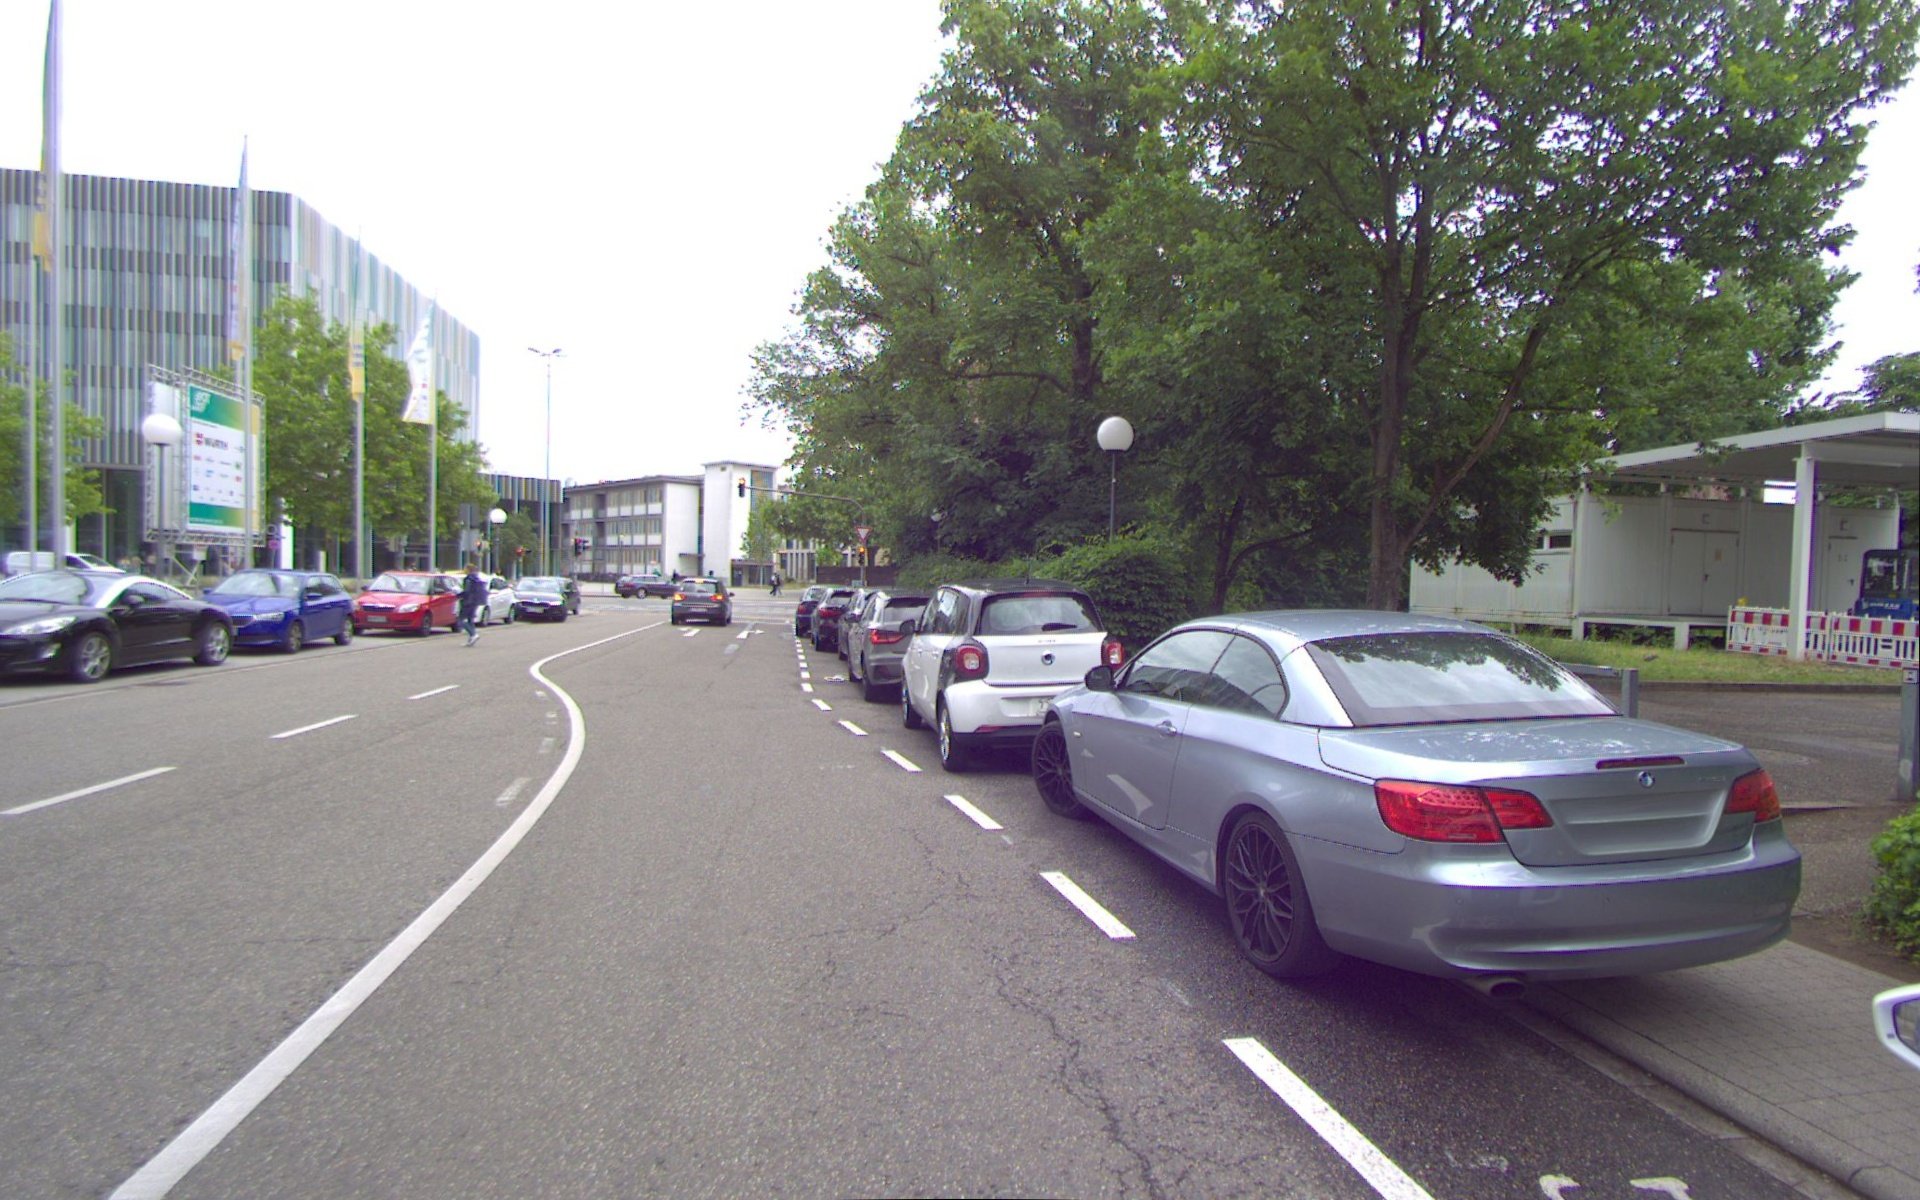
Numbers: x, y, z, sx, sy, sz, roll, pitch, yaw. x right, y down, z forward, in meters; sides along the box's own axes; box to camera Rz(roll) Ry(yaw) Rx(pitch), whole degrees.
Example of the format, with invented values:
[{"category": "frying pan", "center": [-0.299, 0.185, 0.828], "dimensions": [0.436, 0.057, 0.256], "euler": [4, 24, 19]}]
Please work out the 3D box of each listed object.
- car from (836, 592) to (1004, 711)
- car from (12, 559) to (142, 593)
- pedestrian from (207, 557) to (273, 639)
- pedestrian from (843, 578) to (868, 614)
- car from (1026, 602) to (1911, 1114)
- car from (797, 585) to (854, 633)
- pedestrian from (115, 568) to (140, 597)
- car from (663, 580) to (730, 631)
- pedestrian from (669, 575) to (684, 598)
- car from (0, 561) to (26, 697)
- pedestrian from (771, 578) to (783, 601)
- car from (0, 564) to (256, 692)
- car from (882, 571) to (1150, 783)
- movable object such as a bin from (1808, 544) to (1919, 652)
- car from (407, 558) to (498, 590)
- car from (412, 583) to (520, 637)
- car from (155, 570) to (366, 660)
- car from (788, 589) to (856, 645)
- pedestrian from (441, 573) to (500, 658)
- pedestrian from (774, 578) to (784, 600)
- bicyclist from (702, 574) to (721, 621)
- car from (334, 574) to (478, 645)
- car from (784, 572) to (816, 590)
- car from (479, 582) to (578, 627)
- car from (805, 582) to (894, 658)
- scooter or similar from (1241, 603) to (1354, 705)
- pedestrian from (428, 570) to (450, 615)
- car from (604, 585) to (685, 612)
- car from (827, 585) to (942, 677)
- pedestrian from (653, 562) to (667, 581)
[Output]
[{"category": "car", "center": [-0.712, 0.614, 14.194], "dimensions": [1.738, 1.430, 3.999], "euler": [1, 0, -11]}, {"category": "car", "center": [-46.711, -1.262, 53.232], "dimensions": [4.756, 1.685, 1.995], "euler": [1, 1, -12]}, {"category": "pedestrian", "center": [-14.941, -0.044, 20.873], "dimensions": [0.723, 1.663, 0.931], "euler": [0, 1, -5]}, {"category": "pedestrian", "center": [-4.850, -0.179, 46.553], "dimensions": [1.028, 1.641, 0.655], "euler": [0, 1, -20]}, {"category": "car", "center": [1.781, 0.759, 5.133], "dimensions": [1.792, 1.407, 4.183], "euler": [1, 1, -12]}, {"category": "car", "center": [-4.614, 0.263, 34.347], "dimensions": [1.770, 1.489, 4.242], "euler": [2, 1, -8]}, {"category": "pedestrian", "center": [-58.298, -1.216, 70.347], "dimensions": [0.981, 2.040, 0.855], "euler": [0, -1, -2]}, {"category": "car", "center": [-8.611, 0.130, 33.124], "dimensions": [1.757, 1.517, 4.160], "euler": [2, 1, -10]}, {"category": "pedestrian", "center": [-22.238, -1.048, 78.842], "dimensions": [0.796, 1.686, 0.789], "euler": [-2, -2, 34]}, {"category": "car", "center": [-10.876, 0.307, 8.785], "dimensions": [1.792, 1.462, 4.511], "euler": [3, 0, -11]}, {"category": "pedestrian", "center": [-13.770, -0.791, 75.558], "dimensions": [0.614, 1.689, 0.616], "euler": [0, 1, -43]}, {"category": "car", "center": [-11.731, 0.330, 13.592], "dimensions": [1.821, 1.461, 4.412], "euler": [1, -1, -9]}, {"category": "car", "center": [0.310, 0.582, 9.675], "dimensions": [1.691, 1.607, 3.870], "euler": [1, 0, -11]}, {"category": "movable object such as a bin", "center": [21.538, 0.021, 22.116], "dimensions": [4.591, 2.200, 1.994], "euler": [2, 1, -14]}, {"category": "car", "center": [-28.402, -1.454, 56.339], "dimensions": [4.116, 1.640, 1.997], "euler": [1, 1, -8]}, {"category": "car", "center": [-14.478, 0.247, 29.662], "dimensions": [1.833, 1.472, 3.851], "euler": [1, 1, -10]}, {"category": "car", "center": [-12.748, 0.197, 18.660], "dimensions": [1.671, 1.430, 4.364], "euler": [2, 1, -13]}, {"category": "car", "center": [-3.962, 0.451, 29.318], "dimensions": [1.770, 1.427, 4.331], "euler": [2, 1, -6]}, {"category": "pedestrian", "center": [-10.057, 0.306, 20.667], "dimensions": [0.727, 1.684, 0.967], "euler": [2, 0, -4]}, {"category": "pedestrian", "center": [-13.768, -0.847, 76.518], "dimensions": [0.615, 1.687, 0.570], "euler": [0, 1, -28]}, {"category": "bicyclist", "center": [-9.789, -0.114, 39.528], "dimensions": [0.649, 1.803, 0.980], "euler": [1, 1, -17]}, {"category": "car", "center": [-13.290, 0.197, 24.393], "dimensions": [1.687, 1.493, 4.265], "euler": [3, 0, -10]}, {"category": "car", "center": [-18.096, -2.158, 113.879], "dimensions": [1.961, 1.601, 4.405], "euler": [-8, -3, 12]}, {"category": "car", "center": [-14.839, 0.123, 34.426], "dimensions": [1.852, 1.420, 4.424], "euler": [0, 1, -41]}, {"category": "car", "center": [-2.721, 0.417, 23.854], "dimensions": [1.771, 1.582, 4.522], "euler": [2, 0, -10]}, {"category": "scooter or similar", "center": [4.309, 0.665, 12.854], "dimensions": [1.283, 1.226, 0.450], "euler": [1, 1, 31]}, {"category": "pedestrian", "center": [-20.493, -0.297, 39.526], "dimensions": [0.574, 1.738, 0.657], "euler": [0, 1, -7]}, {"category": "car", "center": [-19.009, -0.106, 60.681], "dimensions": [1.973, 1.509, 4.264], "euler": [3, 2, 45]}, {"category": "car", "center": [-1.516, 0.501, 18.743], "dimensions": [1.736, 1.491, 3.817], "euler": [2, 1, -10]}, {"category": "pedestrian", "center": [-27.605, -2.629, 92.515], "dimensions": [0.898, 1.737, 0.940], "euler": [0, 3, -39]}]
